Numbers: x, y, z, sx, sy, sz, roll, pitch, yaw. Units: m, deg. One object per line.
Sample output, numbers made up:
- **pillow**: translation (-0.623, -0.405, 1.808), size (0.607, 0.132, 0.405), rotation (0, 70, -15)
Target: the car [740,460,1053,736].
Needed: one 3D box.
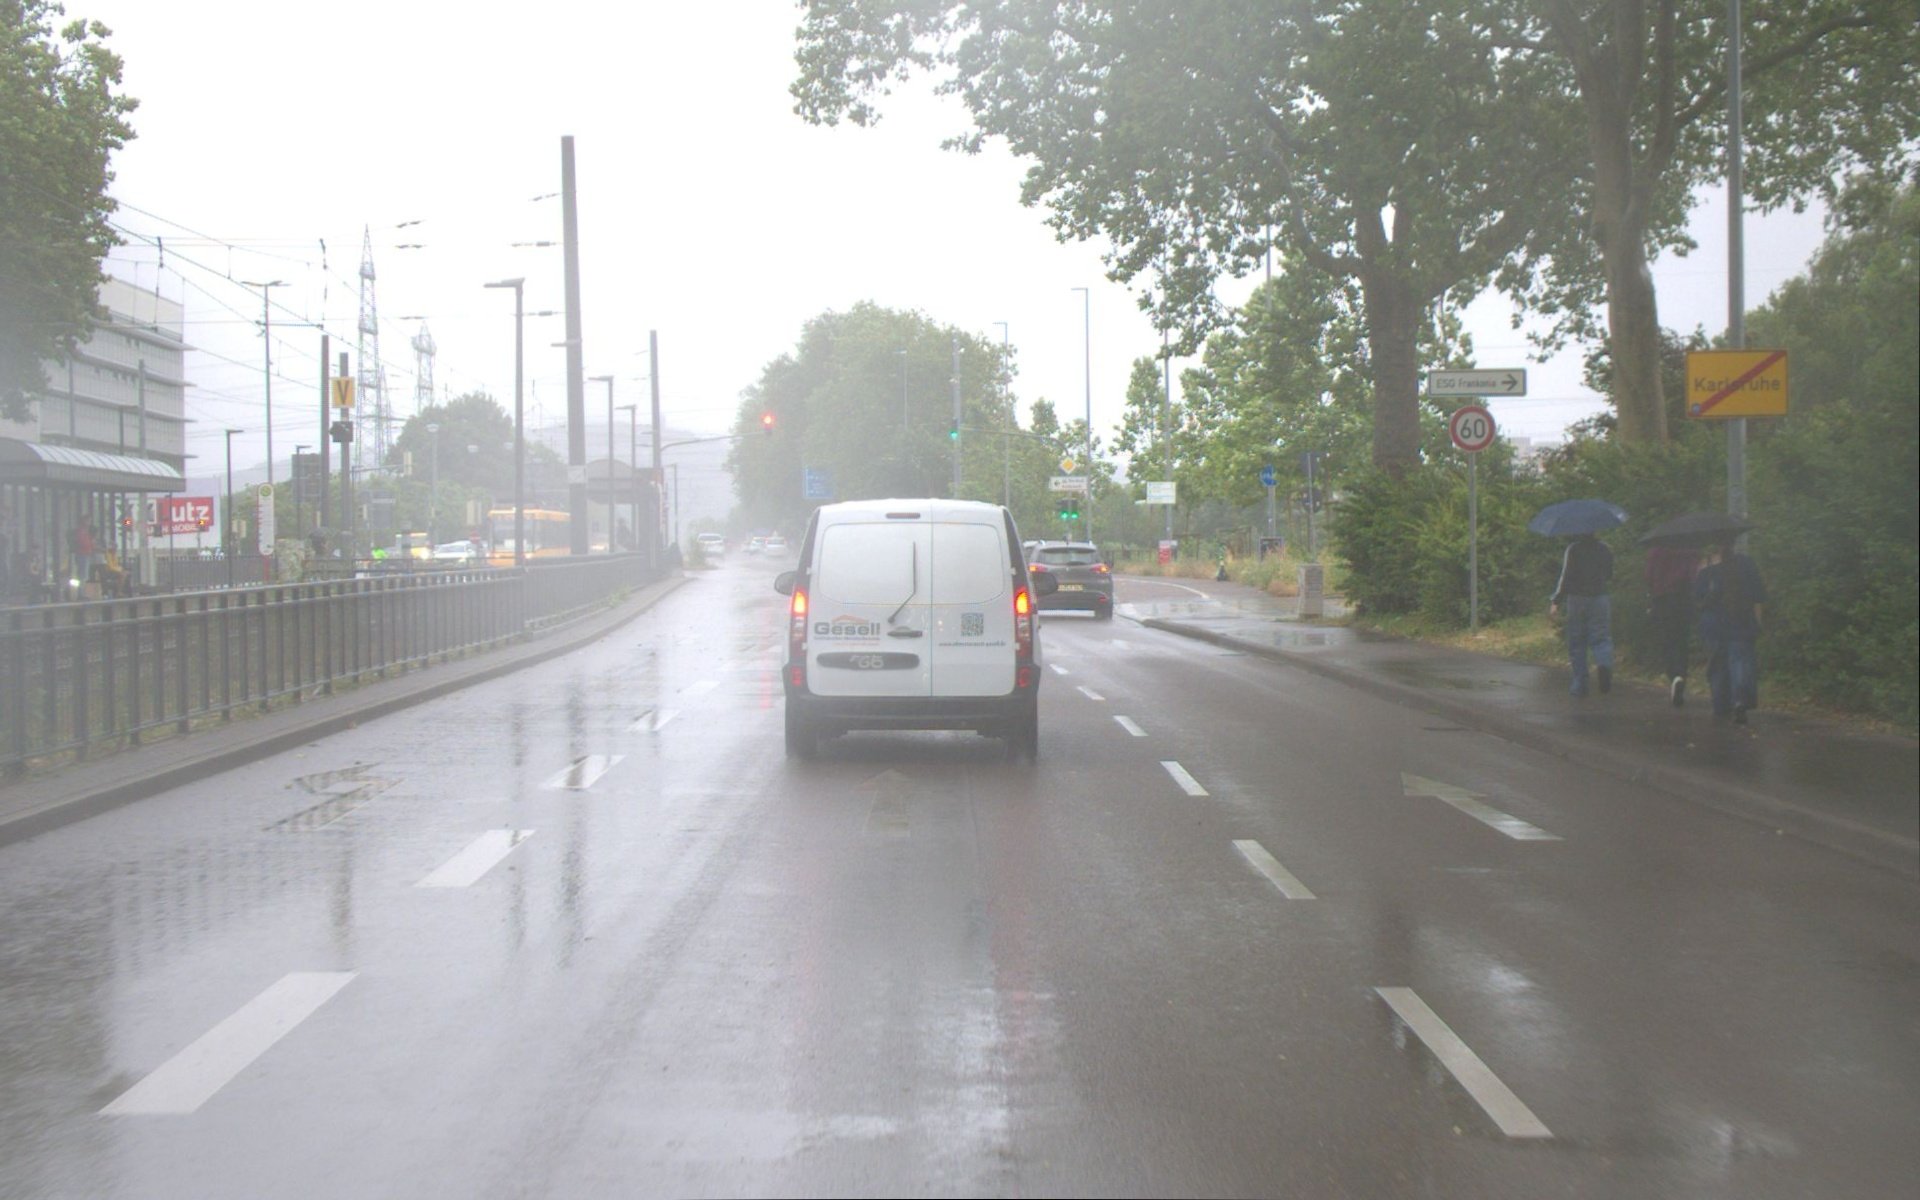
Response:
- **car**: translation (-0.552, -0.010, 24.842), size (2.024, 1.769, 4.274), rotation (2, 0, -4)

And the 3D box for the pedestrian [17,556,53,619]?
- **pedestrian**: translation (-18.812, -0.254, 69.939), size (0.493, 1.263, 0.664), rotation (2, 0, 3)

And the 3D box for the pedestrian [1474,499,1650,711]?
- **pedestrian**: translation (5.353, 0.042, 30.644), size (1.240, 1.779, 1.147), rotation (-4, 0, -1)

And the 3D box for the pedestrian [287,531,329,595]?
- **pedestrian**: translation (-21.120, -1.194, 111.381), size (1.088, 2.007, 1.096), rotation (2, 0, 2)

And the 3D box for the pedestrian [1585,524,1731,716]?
- **pedestrian**: translation (5.929, 0.165, 29.276), size (0.947, 1.583, 1.294), rotation (-1, 0, -1)

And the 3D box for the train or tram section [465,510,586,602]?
- **train or tram section**: translation (-20.798, -1.947, 166.413), size (3.770, 4.023, 27.095), rotation (2, 0, -3)

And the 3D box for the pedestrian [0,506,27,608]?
- **pedestrian**: translation (-18.762, -0.849, 67.858), size (0.493, 2.007, 0.582), rotation (2, 0, -1)

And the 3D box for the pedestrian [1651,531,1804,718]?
- **pedestrian**: translation (5.900, 0.186, 26.477), size (0.892, 1.386, 1.016), rotation (-2, 0, 0)

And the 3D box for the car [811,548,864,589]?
- **car**: translation (-5.550, -1.417, 155.506), size (1.993, 1.744, 4.001), rotation (2, 0, -7)

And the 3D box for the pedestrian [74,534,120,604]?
- **pedestrian**: translation (-19.402, -0.694, 77.271), size (0.825, 1.556, 0.673), rotation (2, 0, -27)

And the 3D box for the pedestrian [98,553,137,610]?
- **pedestrian**: translation (-19.556, -0.431, 79.775), size (0.643, 1.299, 0.814), rotation (2, 0, 3)

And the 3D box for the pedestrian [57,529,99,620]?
- **pedestrian**: translation (-19.012, -0.551, 74.090), size (0.621, 1.926, 0.814), rotation (2, 0, 3)

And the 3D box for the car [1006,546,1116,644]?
- **car**: translation (1.900, -0.090, 65.492), size (1.993, 1.744, 4.000), rotation (2, 0, 1)
